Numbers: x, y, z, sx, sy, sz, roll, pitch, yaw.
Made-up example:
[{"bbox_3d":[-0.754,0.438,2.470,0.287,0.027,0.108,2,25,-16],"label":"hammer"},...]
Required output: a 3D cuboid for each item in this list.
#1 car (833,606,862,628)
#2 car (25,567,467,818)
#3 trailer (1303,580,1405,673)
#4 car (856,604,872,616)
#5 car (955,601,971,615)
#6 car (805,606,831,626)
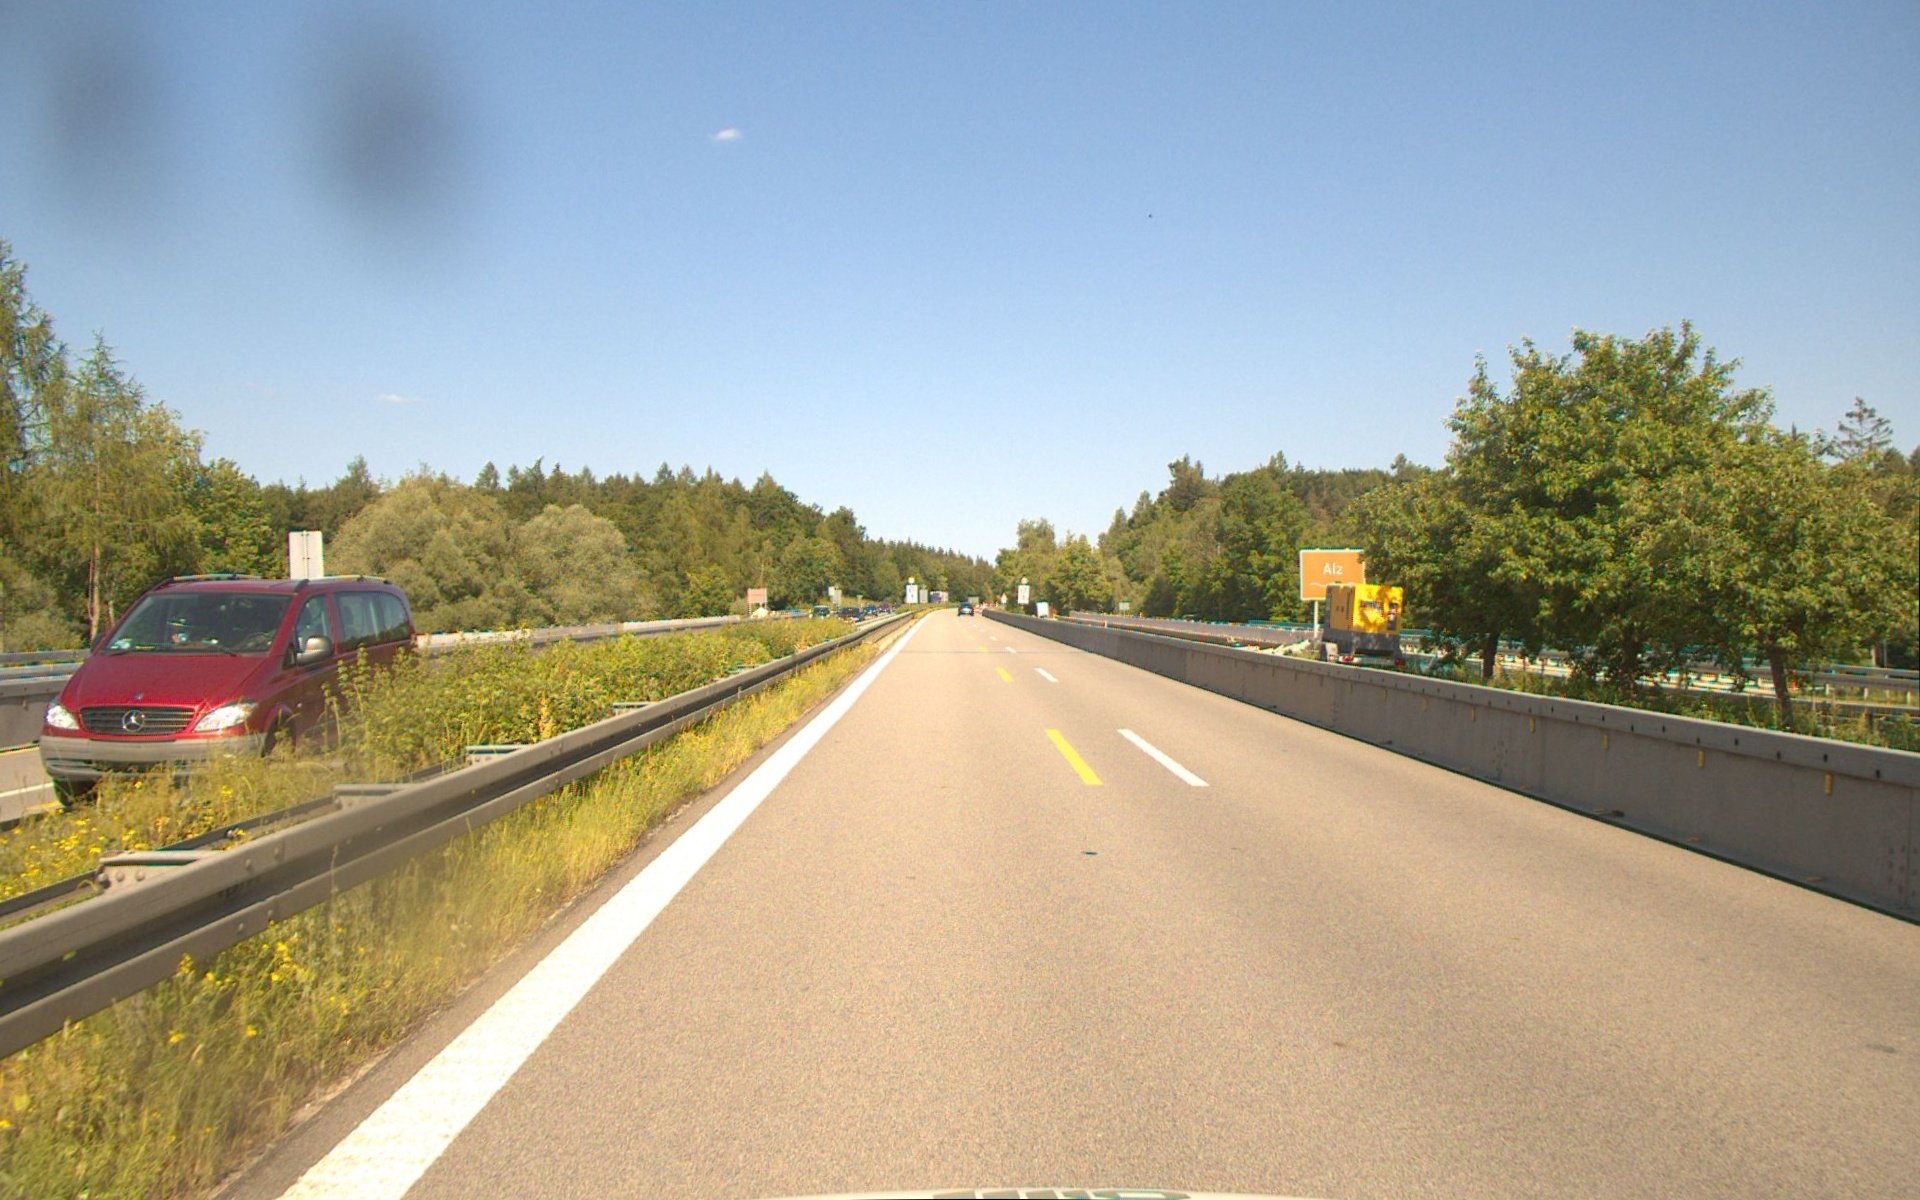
[{"bbox_3d":[-7.760,1.175,114.046,1.612,1.401,4.808,-1,0,0],"label":"car"},{"bbox_3d":[-6.656,0.749,16.277,1.835,2.008,5.577,1,0,1],"label":"car"},{"bbox_3d":[8.619,0.544,36.429,1.102,1.906,3.998,-1,0,-3],"label":"trailer"},{"bbox_3d":[-11.982,1.209,206.708,1.708,1.492,4.908,-1,0,-1],"label":"car"},{"bbox_3d":[0.297,0.910,186.340,1.708,1.492,4.293,-1,0,-1],"label":"car"},{"bbox_3d":[-10.620,1.194,123.992,1.648,1.417,4.191,-1,0,-1],"label":"car"}]
